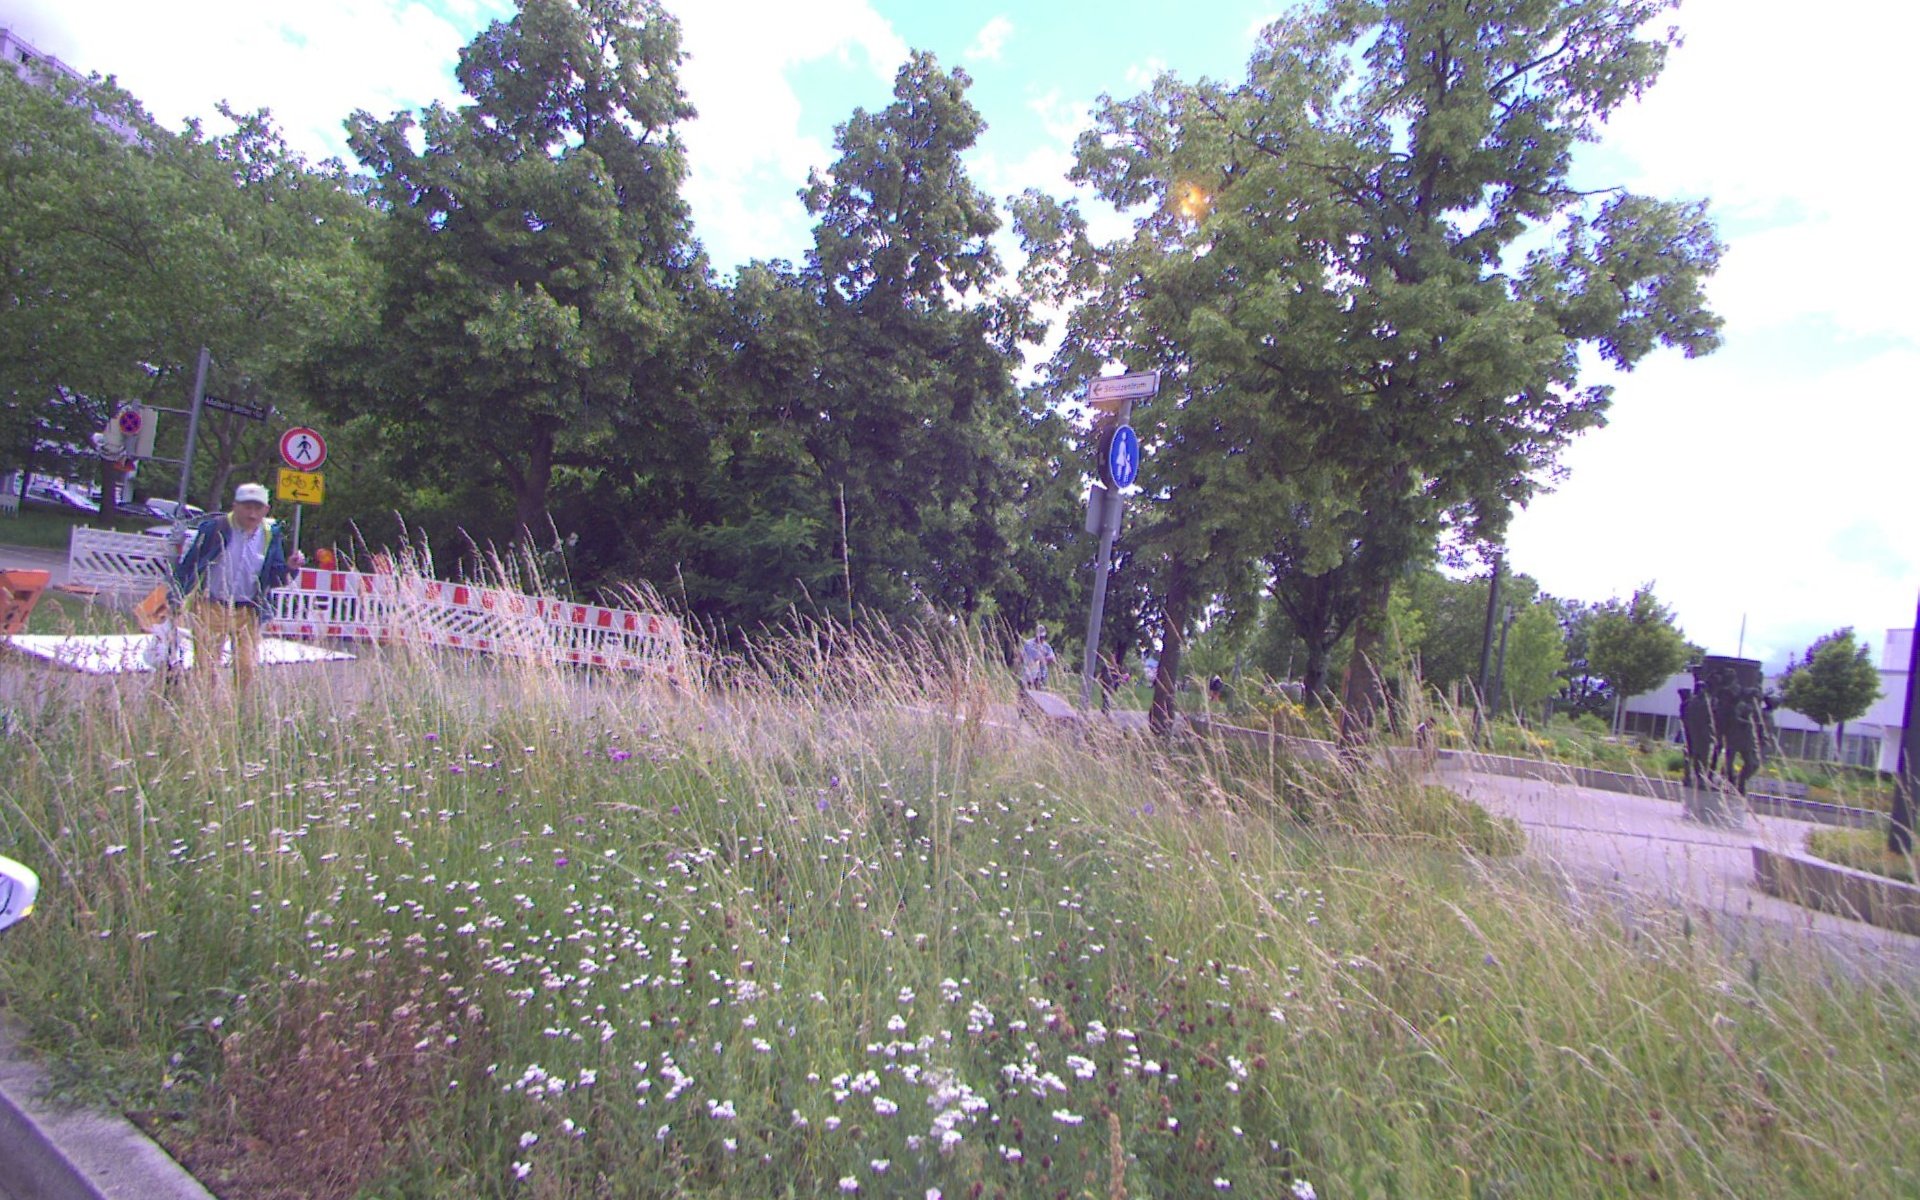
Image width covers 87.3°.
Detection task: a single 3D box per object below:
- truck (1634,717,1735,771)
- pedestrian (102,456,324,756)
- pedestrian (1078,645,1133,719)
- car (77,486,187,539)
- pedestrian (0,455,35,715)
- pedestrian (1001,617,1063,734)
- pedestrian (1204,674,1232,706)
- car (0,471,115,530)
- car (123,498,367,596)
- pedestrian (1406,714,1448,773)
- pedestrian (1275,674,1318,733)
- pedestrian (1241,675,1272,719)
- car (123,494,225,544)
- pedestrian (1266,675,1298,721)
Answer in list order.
[{"bbox_3d":[37.309,7.392,51.939,1.965,2.037,3.999,8,-1,-4],"label":"truck"},{"bbox_3d":[-4.969,0.050,6.791,0.939,1.795,1.004,8,-1,-32],"label":"pedestrian"},{"bbox_3d":[3.570,2.005,24.604,0.879,1.647,0.817,8,-1,30],"label":"pedestrian"},{"bbox_3d":[-43.797,-4.605,53.289,3.926,2.037,2.001,8,-1,0],"label":"car"},{"bbox_3d":[-6.146,-0.088,5.914,0.866,1.654,0.756,8,-1,-45],"label":"pedestrian"},{"bbox_3d":[1.241,1.281,17.135,0.757,1.862,0.765,7,-1,10],"label":"pedestrian"},{"bbox_3d":[14.453,5.035,56.426,1.135,1.571,0.818,8,-1,-2],"label":"pedestrian"},{"bbox_3d":[-43.702,-4.780,48.573,3.926,2.037,2.001,8,-1,0],"label":"car"},{"bbox_3d":[-19.722,-1.388,28.058,1.915,1.895,5.090,7,-2,28],"label":"car"},{"bbox_3d":[10.759,3.306,23.172,0.623,1.236,0.618,7,-1,36],"label":"pedestrian"},{"bbox_3d":[12.662,3.877,37.866,1.137,2.037,0.817,8,0,30],"label":"pedestrian"},{"bbox_3d":[12.454,4.082,42.284,0.872,1.681,0.817,8,-1,30],"label":"pedestrian"},{"bbox_3d":[-44.252,-4.532,56.692,3.926,2.037,2.001,8,-1,0],"label":"car"},{"bbox_3d":[13.297,4.042,41.503,0.879,1.732,0.817,8,-1,30],"label":"pedestrian"}]
